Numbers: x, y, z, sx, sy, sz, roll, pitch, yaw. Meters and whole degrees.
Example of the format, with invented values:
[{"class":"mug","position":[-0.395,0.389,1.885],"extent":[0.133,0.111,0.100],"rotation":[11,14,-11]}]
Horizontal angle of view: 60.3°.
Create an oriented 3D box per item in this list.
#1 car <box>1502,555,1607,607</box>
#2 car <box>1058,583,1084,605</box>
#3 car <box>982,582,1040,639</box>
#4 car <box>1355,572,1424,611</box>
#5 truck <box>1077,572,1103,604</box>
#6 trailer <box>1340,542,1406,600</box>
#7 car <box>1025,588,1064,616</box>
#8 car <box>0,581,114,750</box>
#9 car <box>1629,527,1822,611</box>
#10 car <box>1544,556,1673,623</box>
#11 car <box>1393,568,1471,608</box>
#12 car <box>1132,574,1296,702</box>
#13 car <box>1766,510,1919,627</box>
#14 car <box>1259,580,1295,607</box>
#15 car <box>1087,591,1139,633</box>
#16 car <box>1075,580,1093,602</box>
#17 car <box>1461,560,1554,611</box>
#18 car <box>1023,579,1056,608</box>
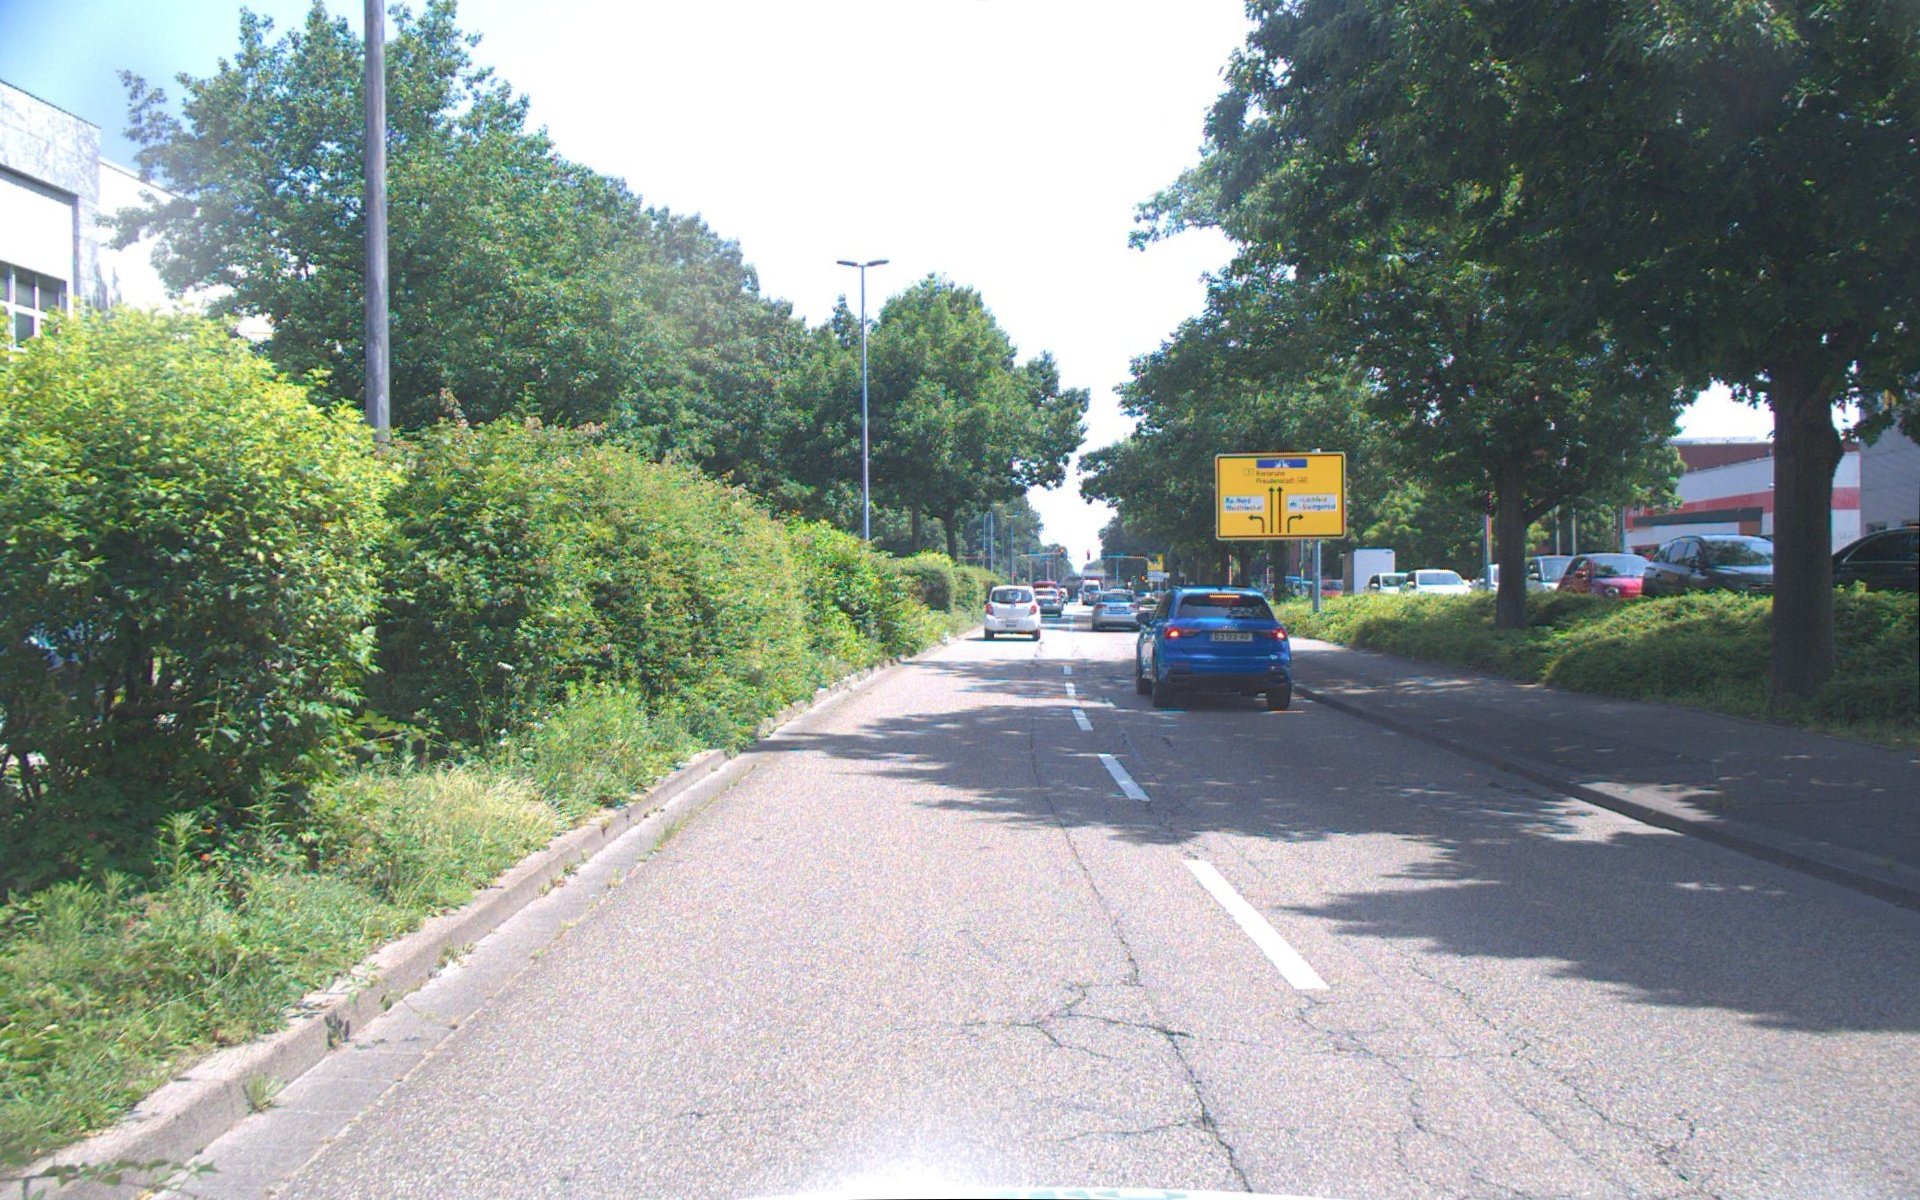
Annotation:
[{"class":"car","position":[13.520,-0.412,37.754],"extent":[1.476,1.142,2.857],"rotation":[0,0,2]},{"class":"car","position":[7.310,-0.386,109.053],"extent":[1.457,1.416,3.306],"rotation":[0,0,-1]},{"class":"car","position":[1.466,0.303,48.186],"extent":[1.605,1.579,3.325],"rotation":[0,0,0]},{"class":"car","position":[14.726,-0.279,56.878],"extent":[1.585,1.275,3.632],"rotation":[0,0,3]},{"class":"truck","position":[14.948,-1.399,190.347],"extent":[2.870,3.564,9.162],"rotation":[-1,0,4]},{"class":"trailer","position":[15.418,-1.068,61.992],"extent":[1.664,2.091,5.488],"rotation":[0,0,6]},{"class":"car","position":[4.323,0.089,84.184],"extent":[1.845,1.378,4.002],"rotation":[0,0,4]},{"class":"car","position":[-10.353,0.675,16.779],"extent":[1.696,1.666,3.471],"rotation":[-2,0,0]},{"class":"car","position":[12.896,-0.479,28.122],"extent":[1.585,1.275,4.201],"rotation":[2,0,4]},{"class":"car","position":[13.105,-0.195,33.627],"extent":[1.584,1.275,3.766],"rotation":[0,0,7]},{"class":"car","position":[14.407,-0.343,50.629],"extent":[1.560,1.178,3.739],"rotation":[0,0,4]},{"class":"car","position":[3.476,0.496,23.315],"extent":[1.771,1.620,4.350],"rotation":[0,0,2]},{"class":"car","position":[12.978,-0.390,21.373],"extent":[1.869,1.476,5.592],"rotation":[0,0,-7]},{"class":"car","position":[17.523,-0.320,91.656],"extent":[1.664,1.449,4.657],"rotation":[0,0,7]},{"class":"car","position":[5.605,0.444,60.916],"extent":[1.826,1.499,4.002],"rotation":[0,0,4]},{"class":"car","position":[13.497,-1.003,179.938],"extent":[1.951,2.295,4.002],"rotation":[-1,0,4]},{"class":"car","position":[14.129,-0.352,42.876],"extent":[1.584,1.275,3.869],"rotation":[0,0,7]},{"class":"car","position":[4.702,-0.375,97.040],"extent":[1.845,1.636,4.002],"rotation":[-1,0,4]}]
